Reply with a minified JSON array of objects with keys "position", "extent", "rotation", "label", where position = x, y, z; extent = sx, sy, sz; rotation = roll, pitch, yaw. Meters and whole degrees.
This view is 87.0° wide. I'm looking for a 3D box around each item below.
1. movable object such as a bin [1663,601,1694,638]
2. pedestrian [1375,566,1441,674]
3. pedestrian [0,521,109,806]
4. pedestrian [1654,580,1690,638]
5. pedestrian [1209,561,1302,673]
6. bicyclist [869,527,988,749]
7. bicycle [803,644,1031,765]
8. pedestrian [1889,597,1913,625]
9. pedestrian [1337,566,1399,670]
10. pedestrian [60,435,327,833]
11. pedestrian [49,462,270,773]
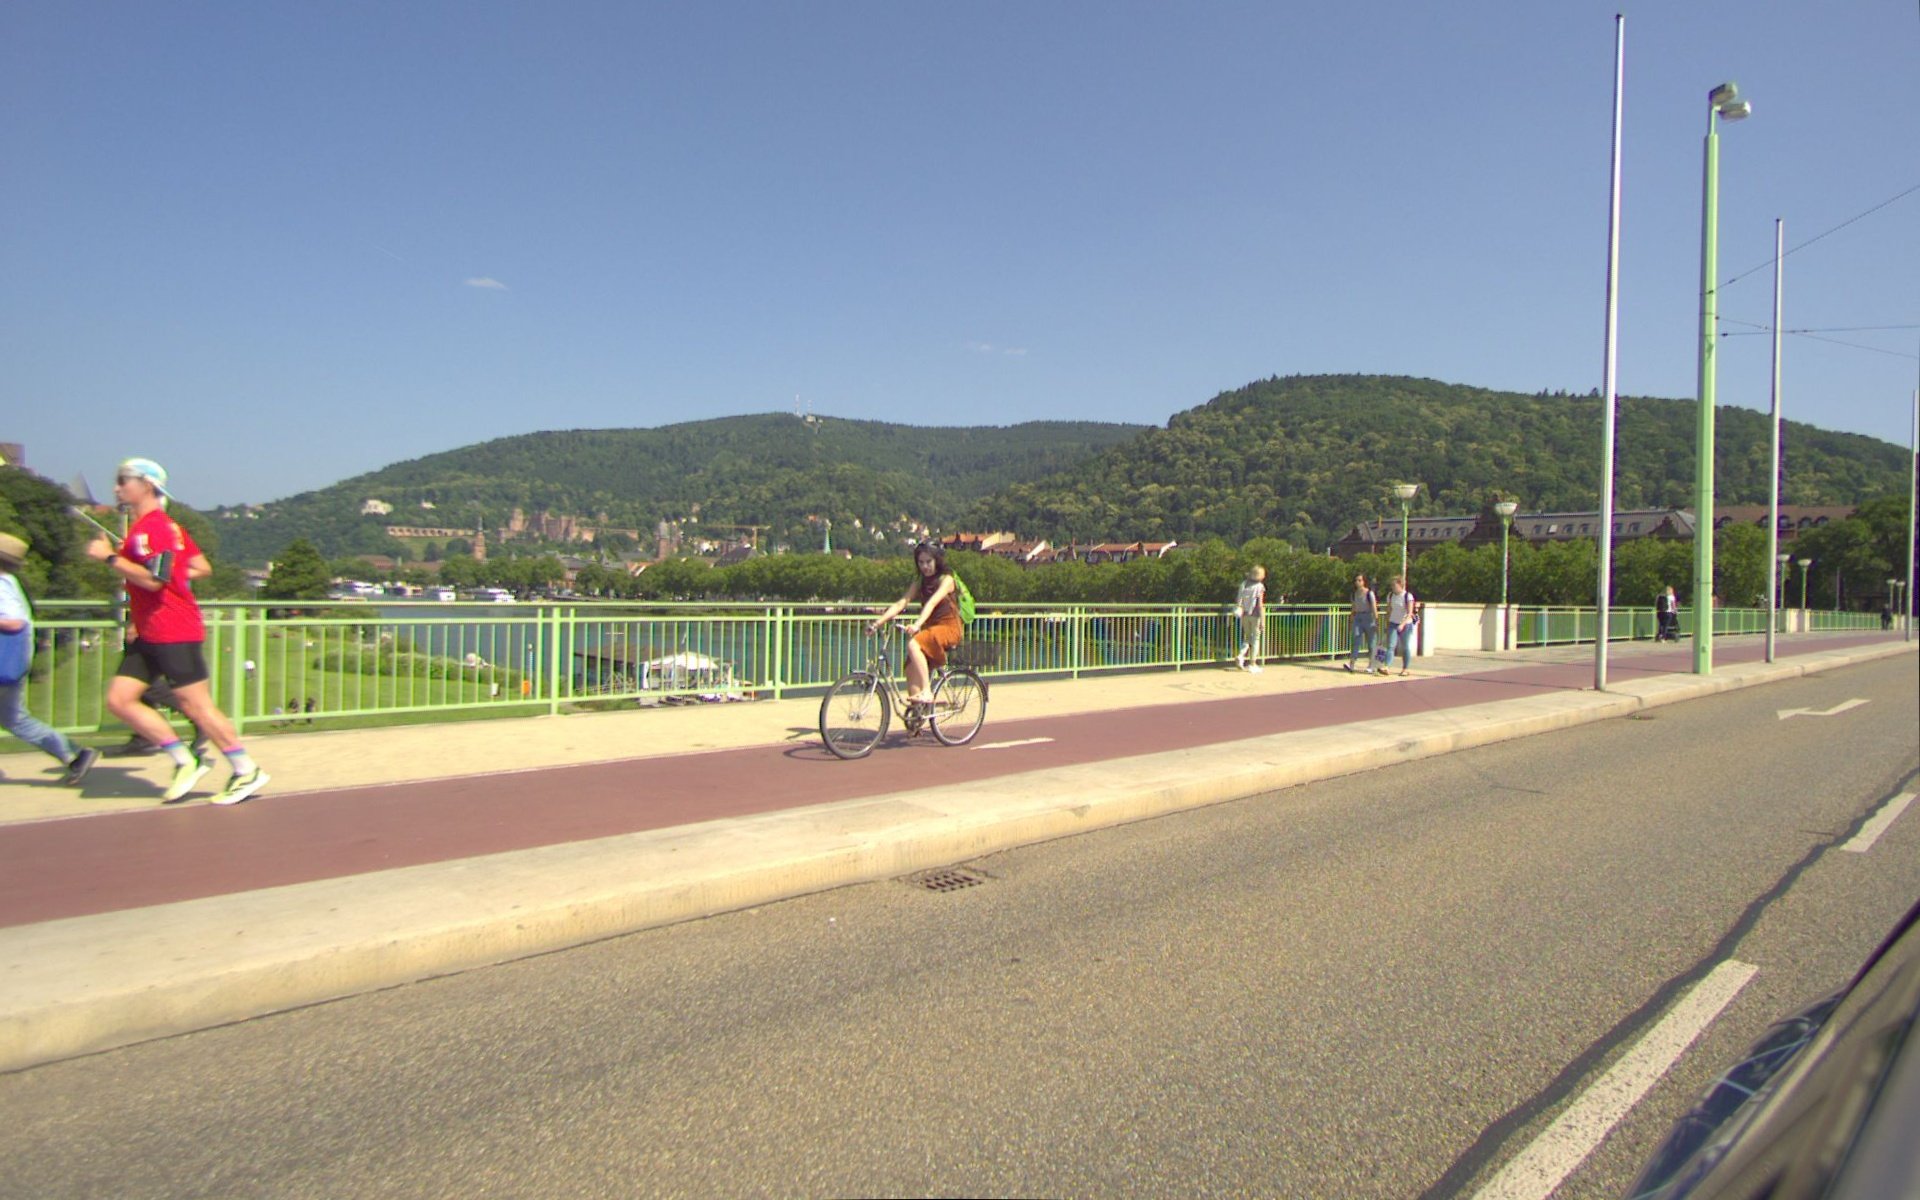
[{"position":[22.343,0.597,31.466],"extent":[0.917,1.104,0.583],"rotation":[0,1,-42],"label":"movable object such as a bin"},{"position":[7.224,0.301,16.318],"extent":[0.811,1.679,0.664],"rotation":[0,2,-41],"label":"pedestrian"},{"position":[-5.489,0.327,5.799],"extent":[0.917,1.548,0.831],"rotation":[0,2,-41],"label":"pedestrian"},{"position":[21.743,0.269,30.895],"extent":[0.844,1.727,0.664],"rotation":[0,2,-41],"label":"pedestrian"},{"position":[4.696,0.247,16.101],"extent":[1.063,1.683,0.949],"rotation":[0,2,-41],"label":"pedestrian"},{"position":[-0.256,0.277,8.078],"extent":[0.689,1.671,0.606],"rotation":[0,2,-40],"label":"bicyclist"},{"position":[-0.302,0.782,8.076],"extent":[1.834,0.775,0.595],"rotation":[0,2,-41],"label":"bicycle"},{"position":[59.619,0.698,64.143],"extent":[1.063,1.683,0.949],"rotation":[1,2,-41],"label":"pedestrian"},{"position":[6.809,0.289,16.890],"extent":[0.733,1.679,0.668],"rotation":[0,2,-41],"label":"pedestrian"},{"position":[-4.243,0.153,5.624],"extent":[1.108,1.948,0.812],"rotation":[0,2,-41],"label":"pedestrian"},{"position":[-5.499,0.095,6.976],"extent":[1.117,1.921,0.927],"rotation":[0,1,-41],"label":"pedestrian"}]
